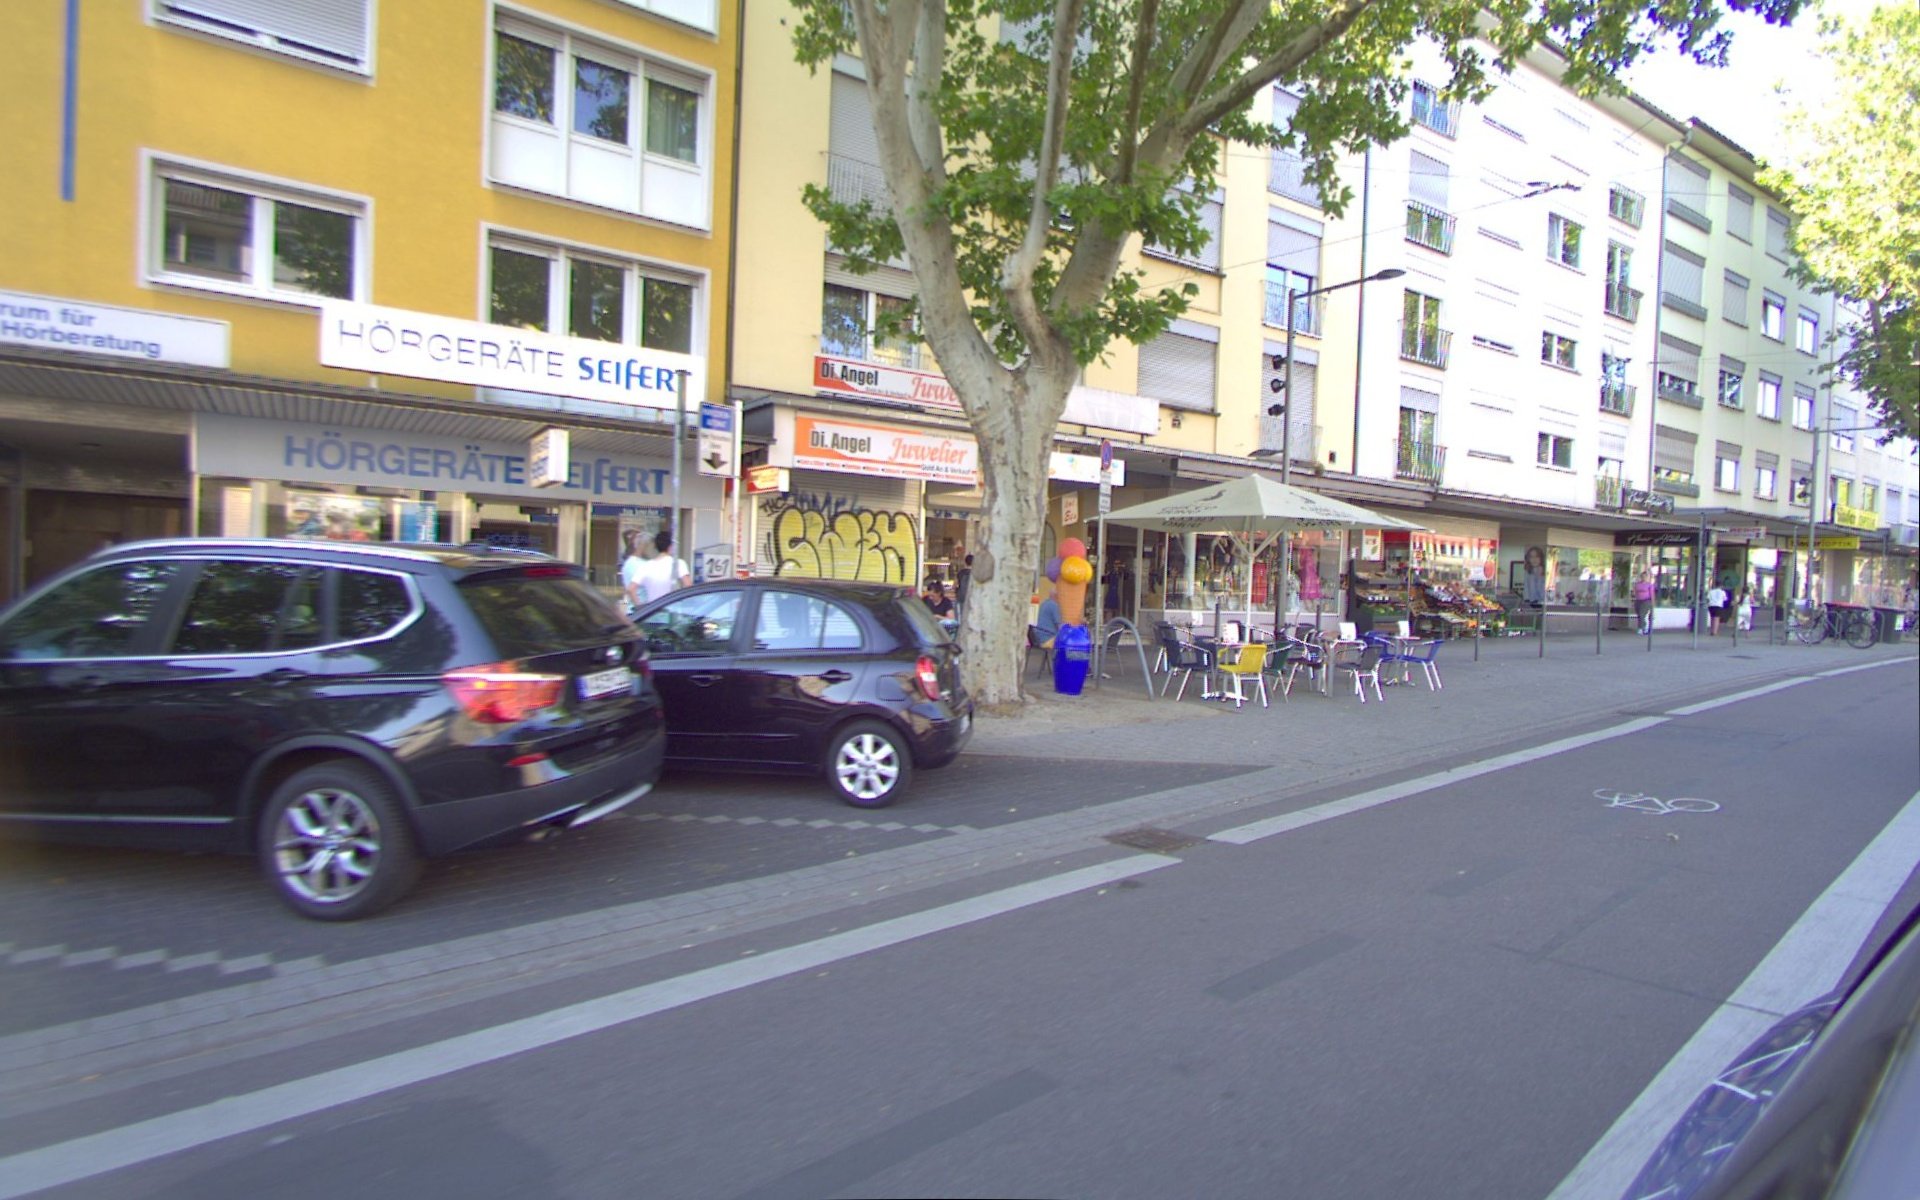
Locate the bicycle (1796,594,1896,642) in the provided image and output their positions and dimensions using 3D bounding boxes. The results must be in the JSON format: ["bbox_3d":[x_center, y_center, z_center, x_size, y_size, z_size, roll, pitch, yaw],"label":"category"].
[{"bbox_3d":[23.953,0.454,27.410,0.507,1.118,1.918,1,4,-27],"label":"bicycle"}]

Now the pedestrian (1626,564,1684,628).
[{"bbox_3d":[20.140,-0.144,29.320,1.111,1.784,0.972,-1,3,-33],"label":"pedestrian"}]

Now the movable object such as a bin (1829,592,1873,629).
[{"bbox_3d":[27.175,0.320,30.862,0.630,1.085,0.726,1,3,-15],"label":"movable object such as a bin"}]

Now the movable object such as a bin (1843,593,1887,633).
[{"bbox_3d":[26.830,0.381,30.014,0.632,1.084,0.725,-1,8,-35],"label":"movable object such as a bin"}]

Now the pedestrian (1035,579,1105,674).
[{"bbox_3d":[1.503,0.343,13.840,0.732,1.240,0.607,0,1,-40],"label":"pedestrian"}]

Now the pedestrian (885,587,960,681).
[{"bbox_3d":[-0.463,0.402,12.593,0.737,1.129,0.584,0,0,-40],"label":"pedestrian"}]

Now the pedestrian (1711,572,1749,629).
[{"bbox_3d":[22.575,0.006,29.665,0.615,1.605,0.624,0,4,-35],"label":"pedestrian"}]

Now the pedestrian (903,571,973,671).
[{"bbox_3d":[-0.293,0.269,13.527,0.745,1.291,0.584,0,0,-40],"label":"pedestrian"}]

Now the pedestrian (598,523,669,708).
[{"bbox_3d":[-3.387,0.143,10.503,0.512,1.855,0.470,2,2,28],"label":"pedestrian"}]

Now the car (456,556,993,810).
[{"bbox_3d":[-1.622,0.489,7.603,3.549,1.559,1.738,1,2,9],"label":"car"}]

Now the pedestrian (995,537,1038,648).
[{"bbox_3d":[0.948,-0.131,17.056,0.614,1.826,0.638,1,1,-5],"label":"pedestrian"}]

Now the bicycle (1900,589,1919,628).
[{"bbox_3d":[29.512,0.288,30.413,0.731,1.130,1.724,-4,4,-33],"label":"bicycle"}]

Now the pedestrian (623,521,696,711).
[{"bbox_3d":[-3.018,0.145,10.179,0.511,1.855,0.471,2,1,22],"label":"pedestrian"}]

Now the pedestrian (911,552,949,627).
[{"bbox_3d":[-0.541,-0.190,18.085,0.498,1.312,0.427,0,2,-37],"label":"pedestrian"}]

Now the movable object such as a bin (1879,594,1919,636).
[{"bbox_3d":[27.375,0.422,29.404,0.631,1.115,0.726,0,6,-27],"label":"movable object such as a bin"}]

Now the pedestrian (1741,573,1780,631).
[{"bbox_3d":[23.074,0.056,29.169,0.615,1.605,0.638,0,4,-35],"label":"pedestrian"}]

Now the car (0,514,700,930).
[{"bbox_3d":[-3.691,0.444,5.429,4.083,1.701,1.805,1,2,9],"label":"car"}]

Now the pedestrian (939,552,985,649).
[{"bbox_3d":[0.025,-0.002,16.838,0.624,1.564,0.628,1,5,-10],"label":"pedestrian"}]

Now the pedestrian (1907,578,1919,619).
[{"bbox_3d":[36.800,-0.039,38.716,0.878,1.520,0.543,1,3,-33],"label":"pedestrian"}]

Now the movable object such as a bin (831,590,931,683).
[{"bbox_3d":[-0.901,0.400,11.738,0.917,1.036,0.835,0,0,18],"label":"movable object such as a bin"}]
